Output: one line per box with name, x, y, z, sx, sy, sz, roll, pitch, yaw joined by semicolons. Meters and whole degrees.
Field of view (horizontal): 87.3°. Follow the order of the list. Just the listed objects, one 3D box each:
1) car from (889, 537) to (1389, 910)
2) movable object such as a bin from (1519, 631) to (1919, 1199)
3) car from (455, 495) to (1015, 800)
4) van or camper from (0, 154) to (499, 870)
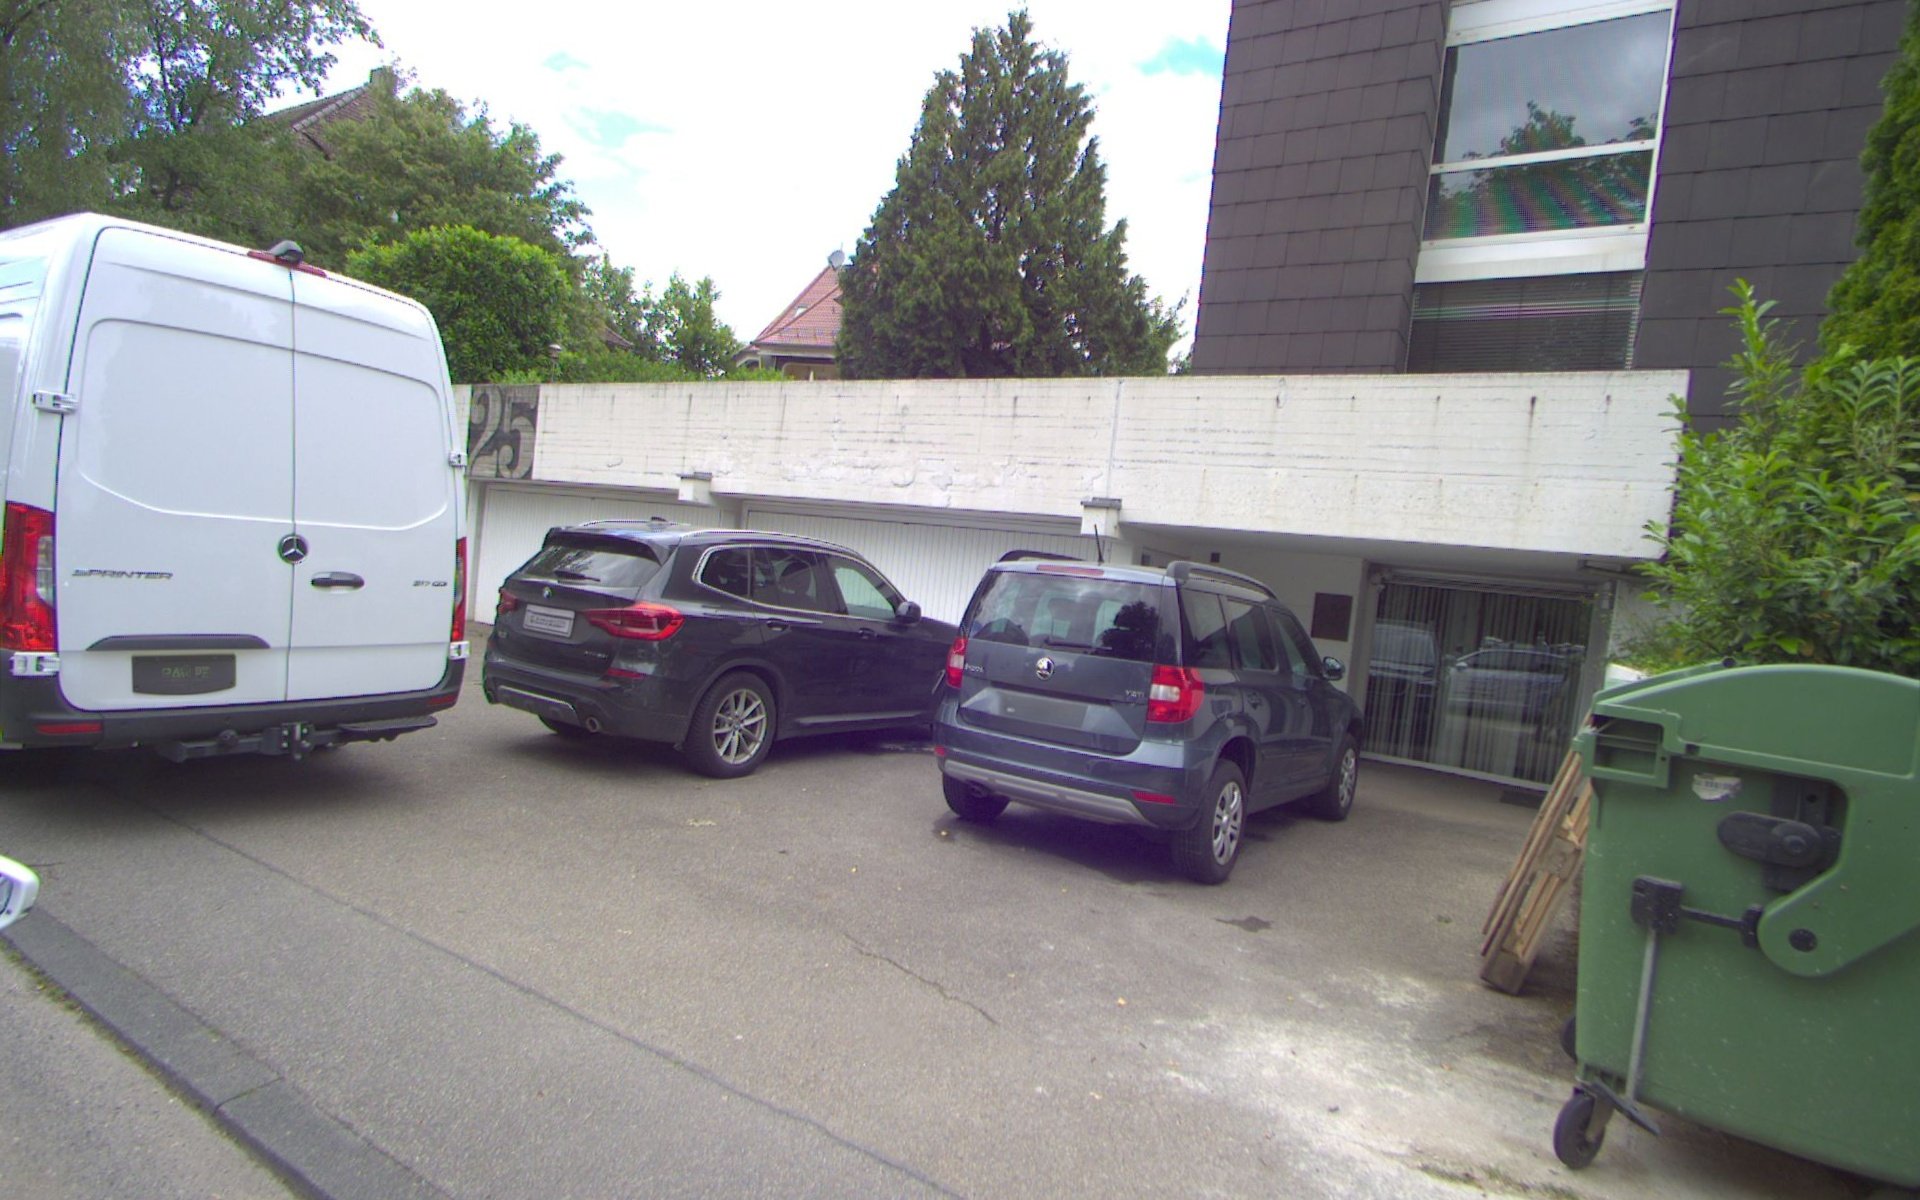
car;1.474;0.642;6.807;1.717;1.673;3.899;6;1;35
movable object such as a bin;2.400;0.900;2.987;1.098;1.469;1.405;6;1;32
car;-1.416;0.321;8.045;1.668;1.696;4.383;6;1;32
van or camper;-5.782;-0.583;6.287;6.436;2.662;1.990;6;4;32
